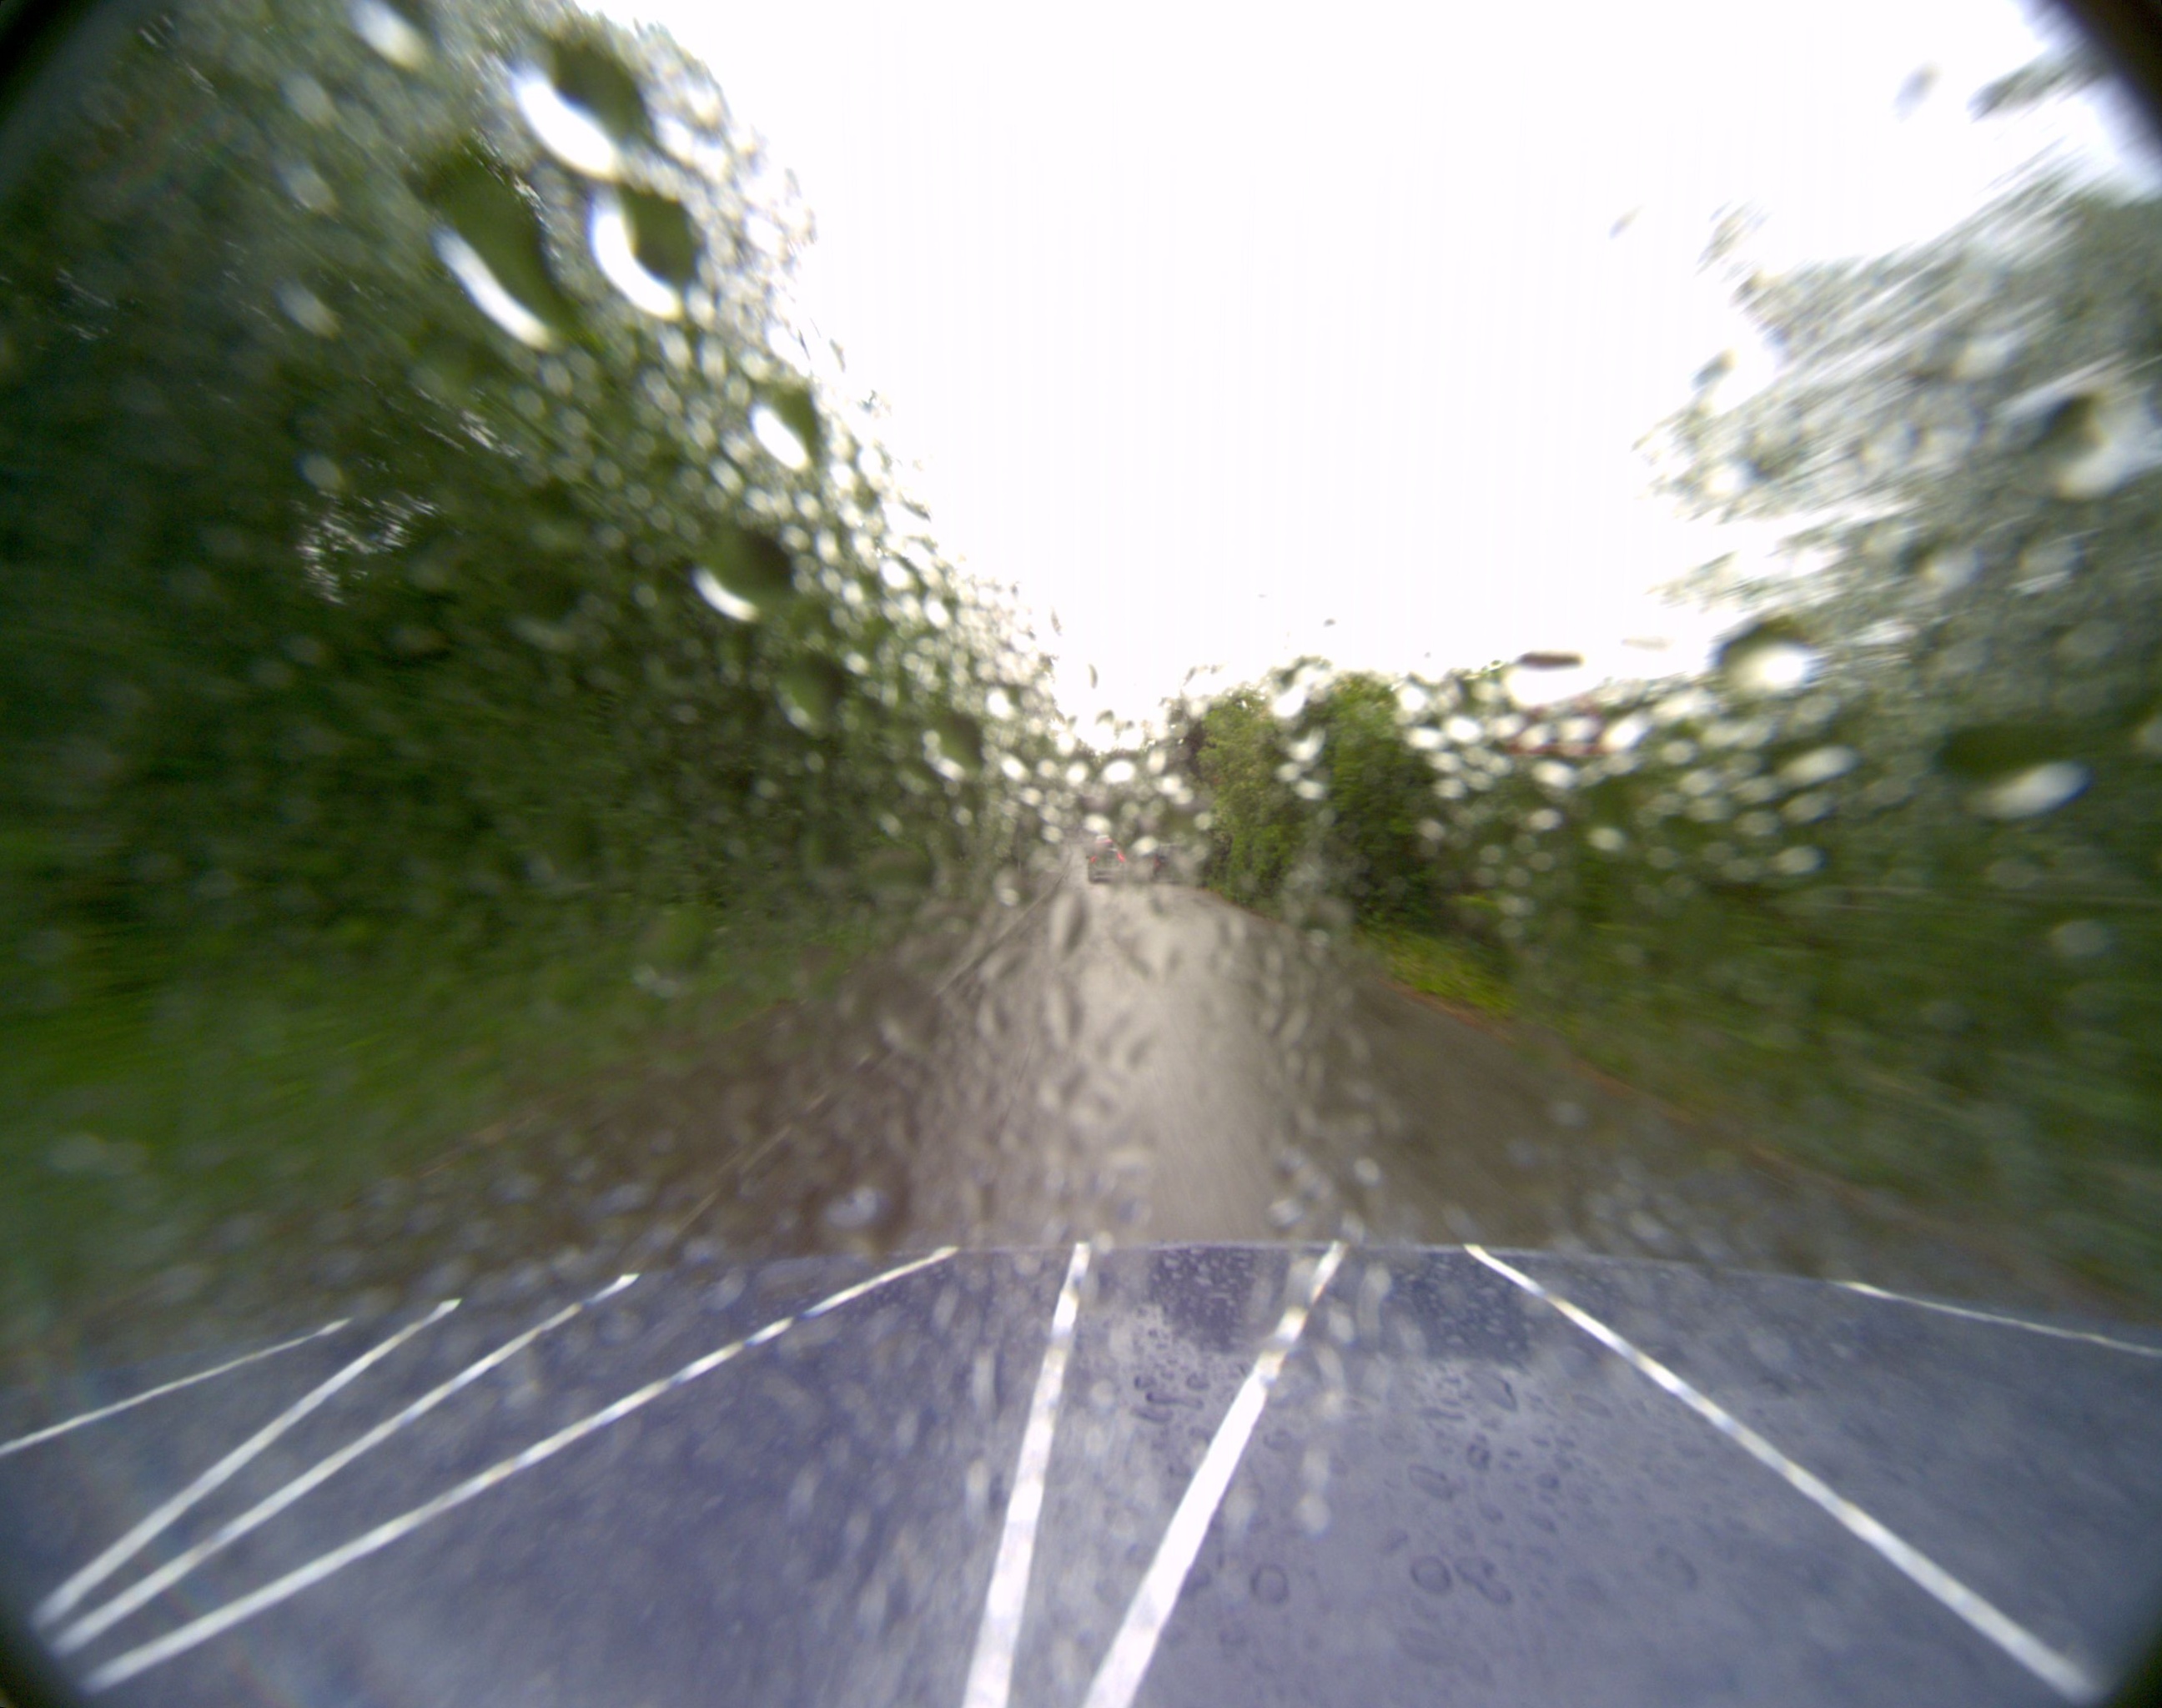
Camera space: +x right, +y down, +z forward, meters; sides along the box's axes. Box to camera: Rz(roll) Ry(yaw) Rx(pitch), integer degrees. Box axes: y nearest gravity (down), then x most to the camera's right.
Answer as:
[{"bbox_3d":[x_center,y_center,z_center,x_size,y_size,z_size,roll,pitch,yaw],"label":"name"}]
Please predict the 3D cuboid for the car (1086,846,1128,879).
[{"bbox_3d":[1.348,0.460,41.286,1.928,1.611,4.462,-3,0,-2],"label":"car"}]

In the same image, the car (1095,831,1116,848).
[{"bbox_3d":[2.433,-1.489,77.454,1.960,1.608,4.678,-3,2,0],"label":"car"}]

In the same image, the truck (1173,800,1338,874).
[{"bbox_3d":[9.887,-0.868,44.146,2.773,3.694,9.227,-4,1,-43],"label":"truck"}]

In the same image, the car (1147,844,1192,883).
[{"bbox_3d":[4.104,0.420,35.668,1.690,1.717,4.068,0,0,1],"label":"car"}]
